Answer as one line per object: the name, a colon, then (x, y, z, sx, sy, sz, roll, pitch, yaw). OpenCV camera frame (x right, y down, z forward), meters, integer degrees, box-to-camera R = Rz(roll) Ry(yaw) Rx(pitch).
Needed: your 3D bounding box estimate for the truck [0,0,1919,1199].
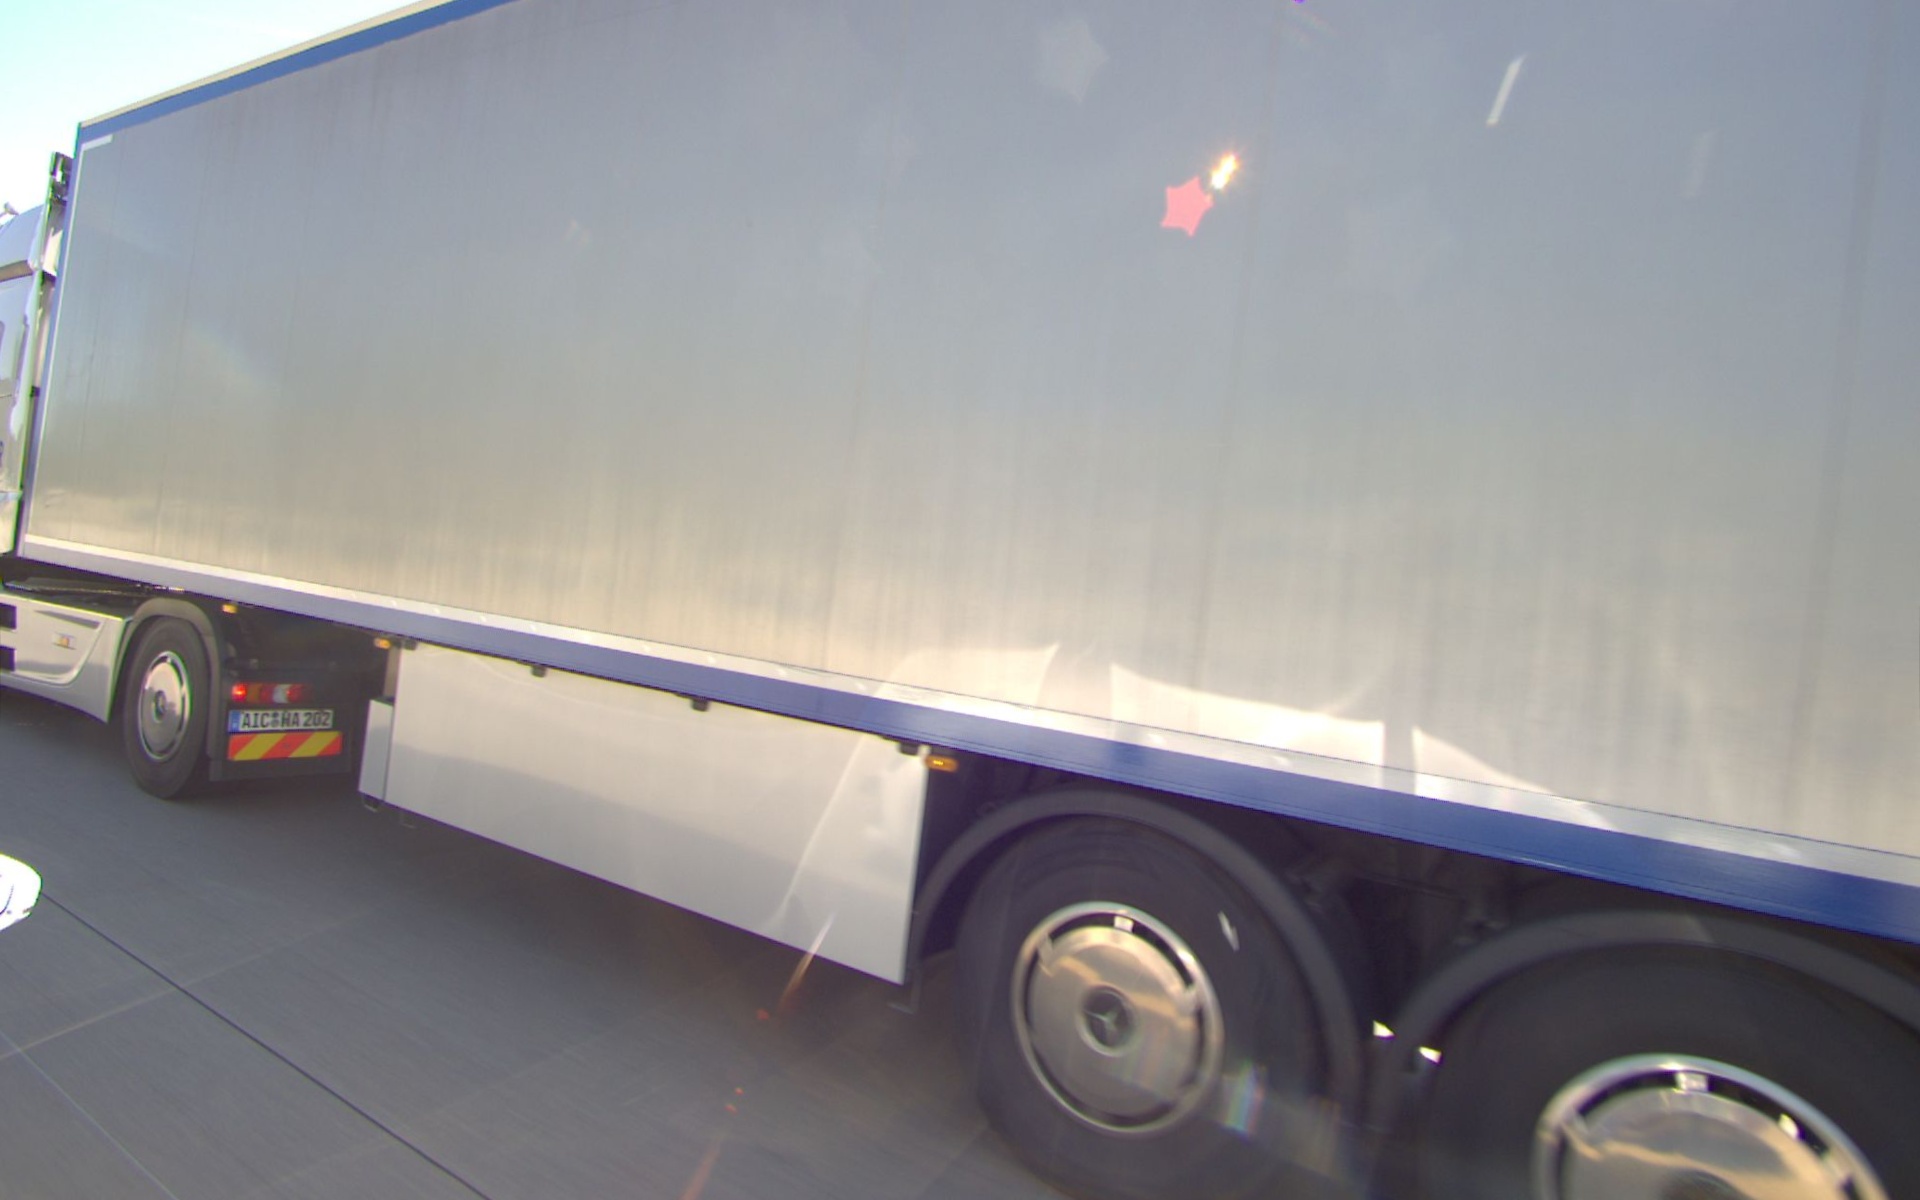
truck: (-1.559, -1.504, 5.517, 17.942, 5.849, 3.588, 7, -3, 31)
